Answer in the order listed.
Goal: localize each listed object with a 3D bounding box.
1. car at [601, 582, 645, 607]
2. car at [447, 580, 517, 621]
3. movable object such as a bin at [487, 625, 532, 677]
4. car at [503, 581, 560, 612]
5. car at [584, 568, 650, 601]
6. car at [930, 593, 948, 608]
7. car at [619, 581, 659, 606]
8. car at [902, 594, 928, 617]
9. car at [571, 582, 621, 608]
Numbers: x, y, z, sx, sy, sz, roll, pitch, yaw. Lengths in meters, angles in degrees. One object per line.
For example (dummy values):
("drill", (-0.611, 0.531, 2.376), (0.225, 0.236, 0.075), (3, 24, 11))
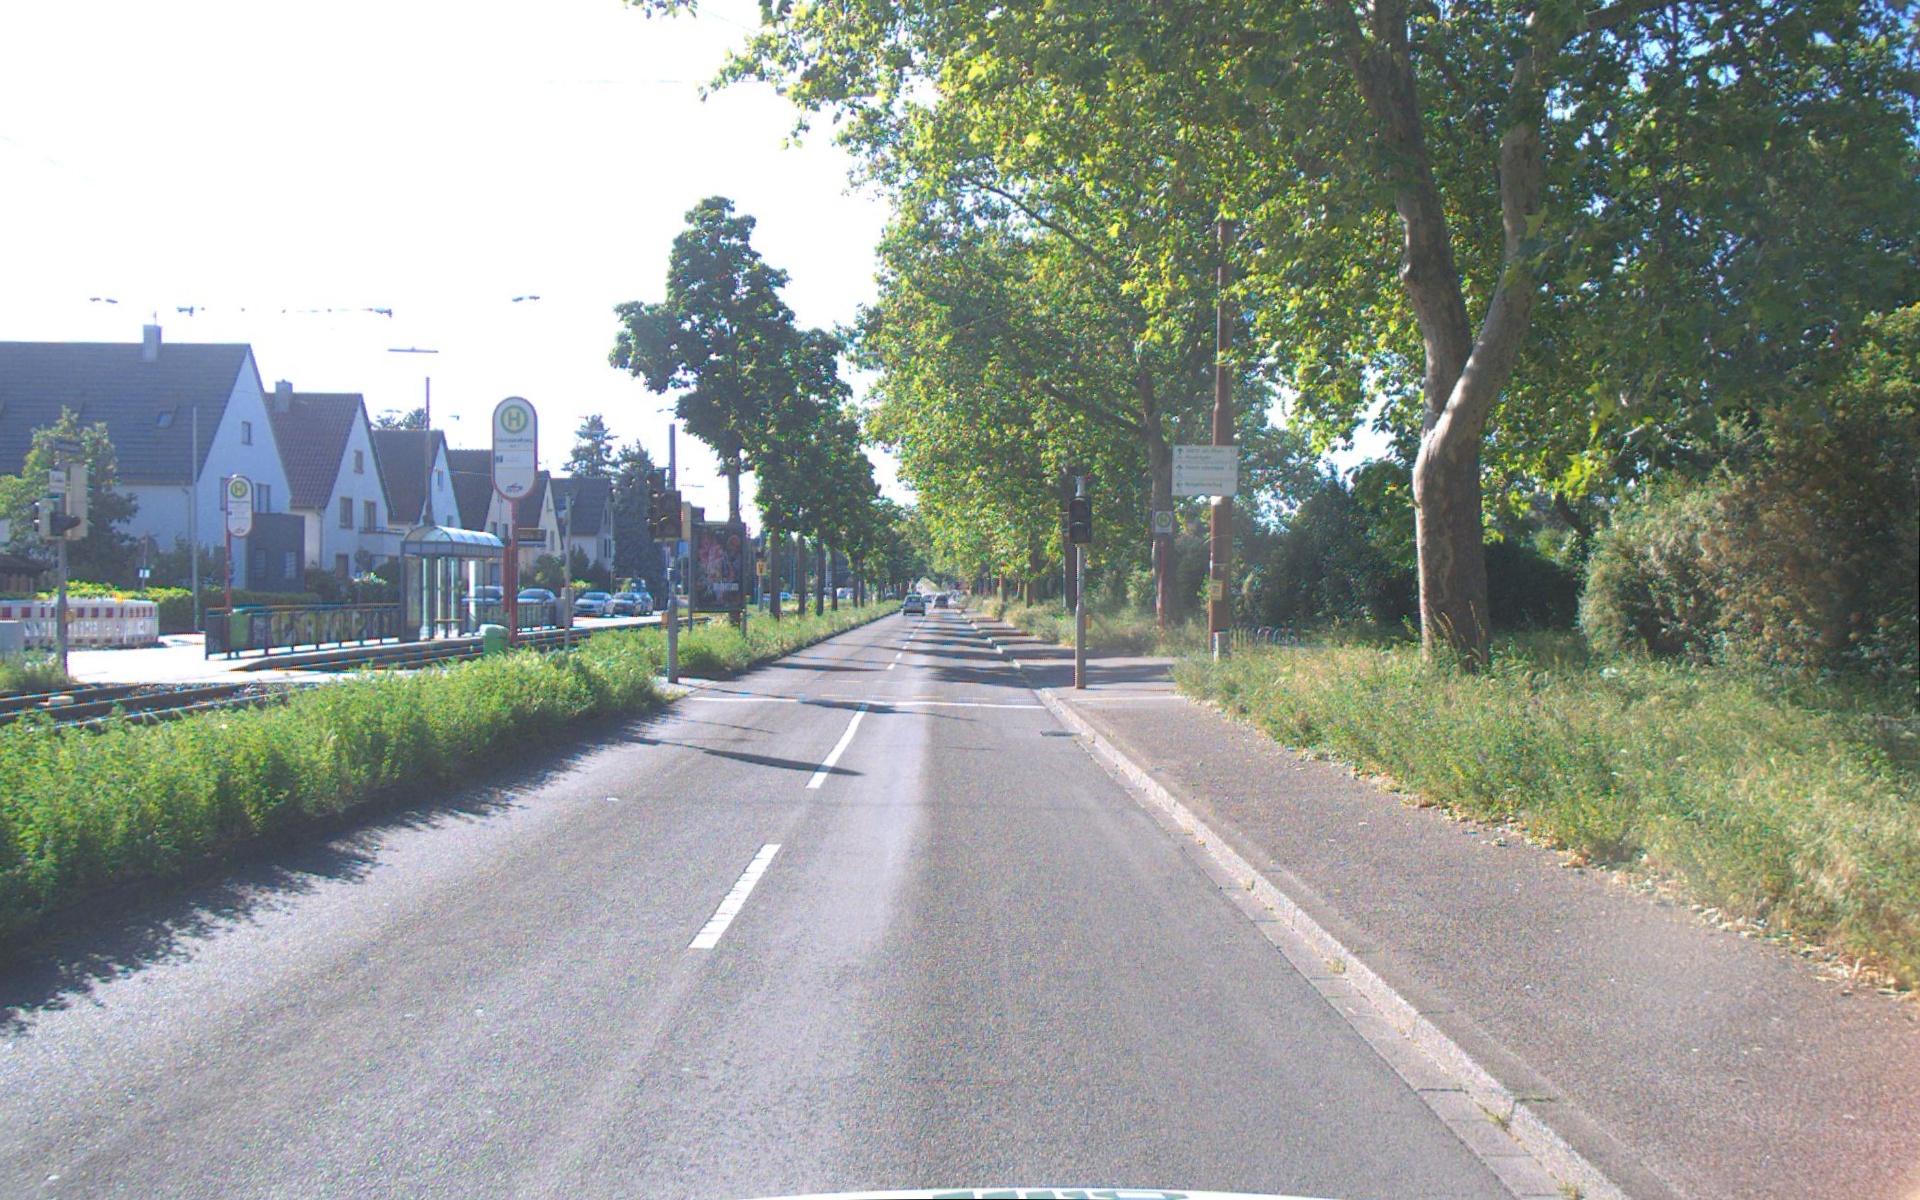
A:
("car", (-22.107, -0.353, 108.608), (1.953, 1.475, 4.127), (4, 0, -1))
("car", (-21.969, 0.019, 76.156), (1.953, 1.743, 4.390), (2, 0, -1))
("movable object such as a bin", (-5.316, 0.596, 19.538), (0.378, 0.593, 0.379), (1, 0, 8))
("car", (-22.190, -0.196, 85.760), (1.887, 1.521, 4.255), (2, 0, -1))
("car", (-27.894, -1.266, 134.445), (4.926, 2.671, 2.102), (0, 1, -1))
("car", (-2.428, 0.088, 191.316), (1.953, 1.631, 4.472), (2, 0, -1))
("car", (-21.991, -0.447, 113.391), (1.907, 1.580, 4.056), (2, 0, -1))
("car", (-3.256, 0.393, 120.283), (1.822, 1.629, 4.227), (2, 0, -1))
("car", (-21.894, -0.285, 99.689), (1.952, 1.451, 4.410), (2, 0, 1))
